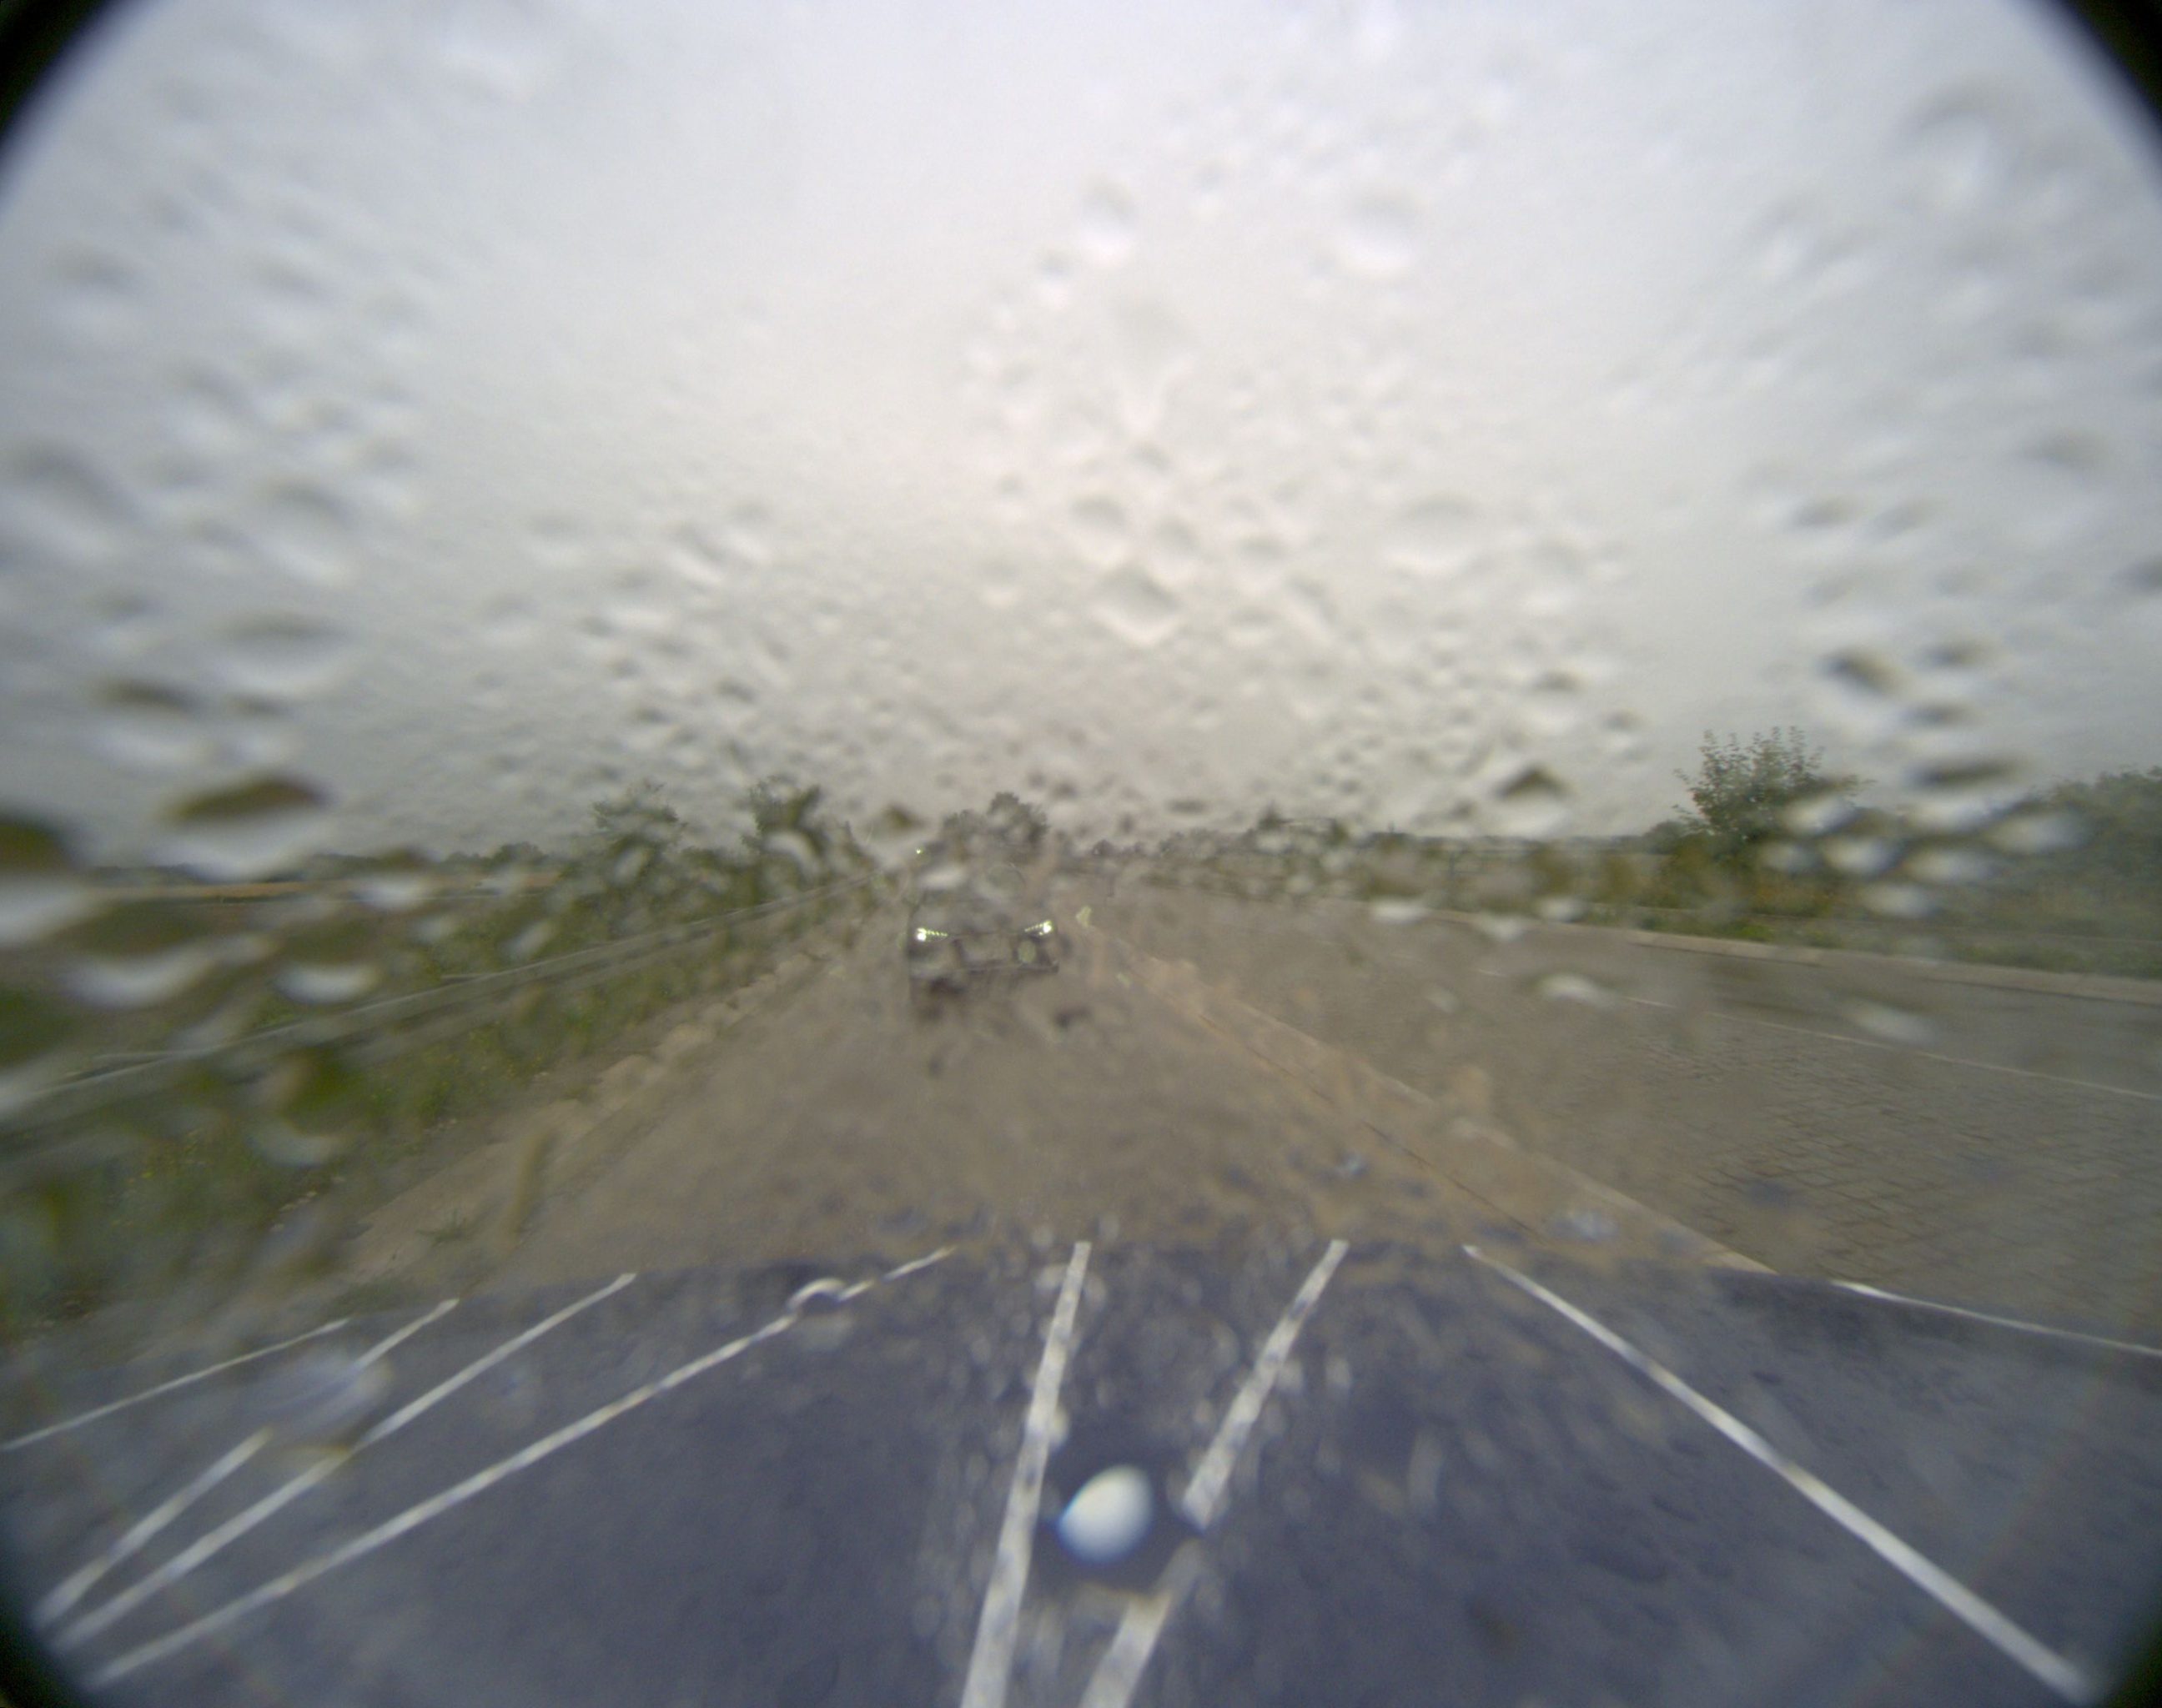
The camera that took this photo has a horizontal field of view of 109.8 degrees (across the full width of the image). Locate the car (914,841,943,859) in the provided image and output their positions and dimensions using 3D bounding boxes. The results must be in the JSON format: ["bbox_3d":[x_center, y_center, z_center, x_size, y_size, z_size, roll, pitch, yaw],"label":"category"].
[{"bbox_3d":[-12.446,-0.388,61.758,1.912,1.361,4.557,-2,2,-16],"label":"car"}]

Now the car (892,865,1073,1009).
[{"bbox_3d":[-1.412,0.926,10.537,1.911,1.361,4.560,-2,1,-9],"label":"car"}]

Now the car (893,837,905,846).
[{"bbox_3d":[-32.170,-2.281,134.077,1.788,1.517,4.161,-1,2,-17],"label":"car"}]
